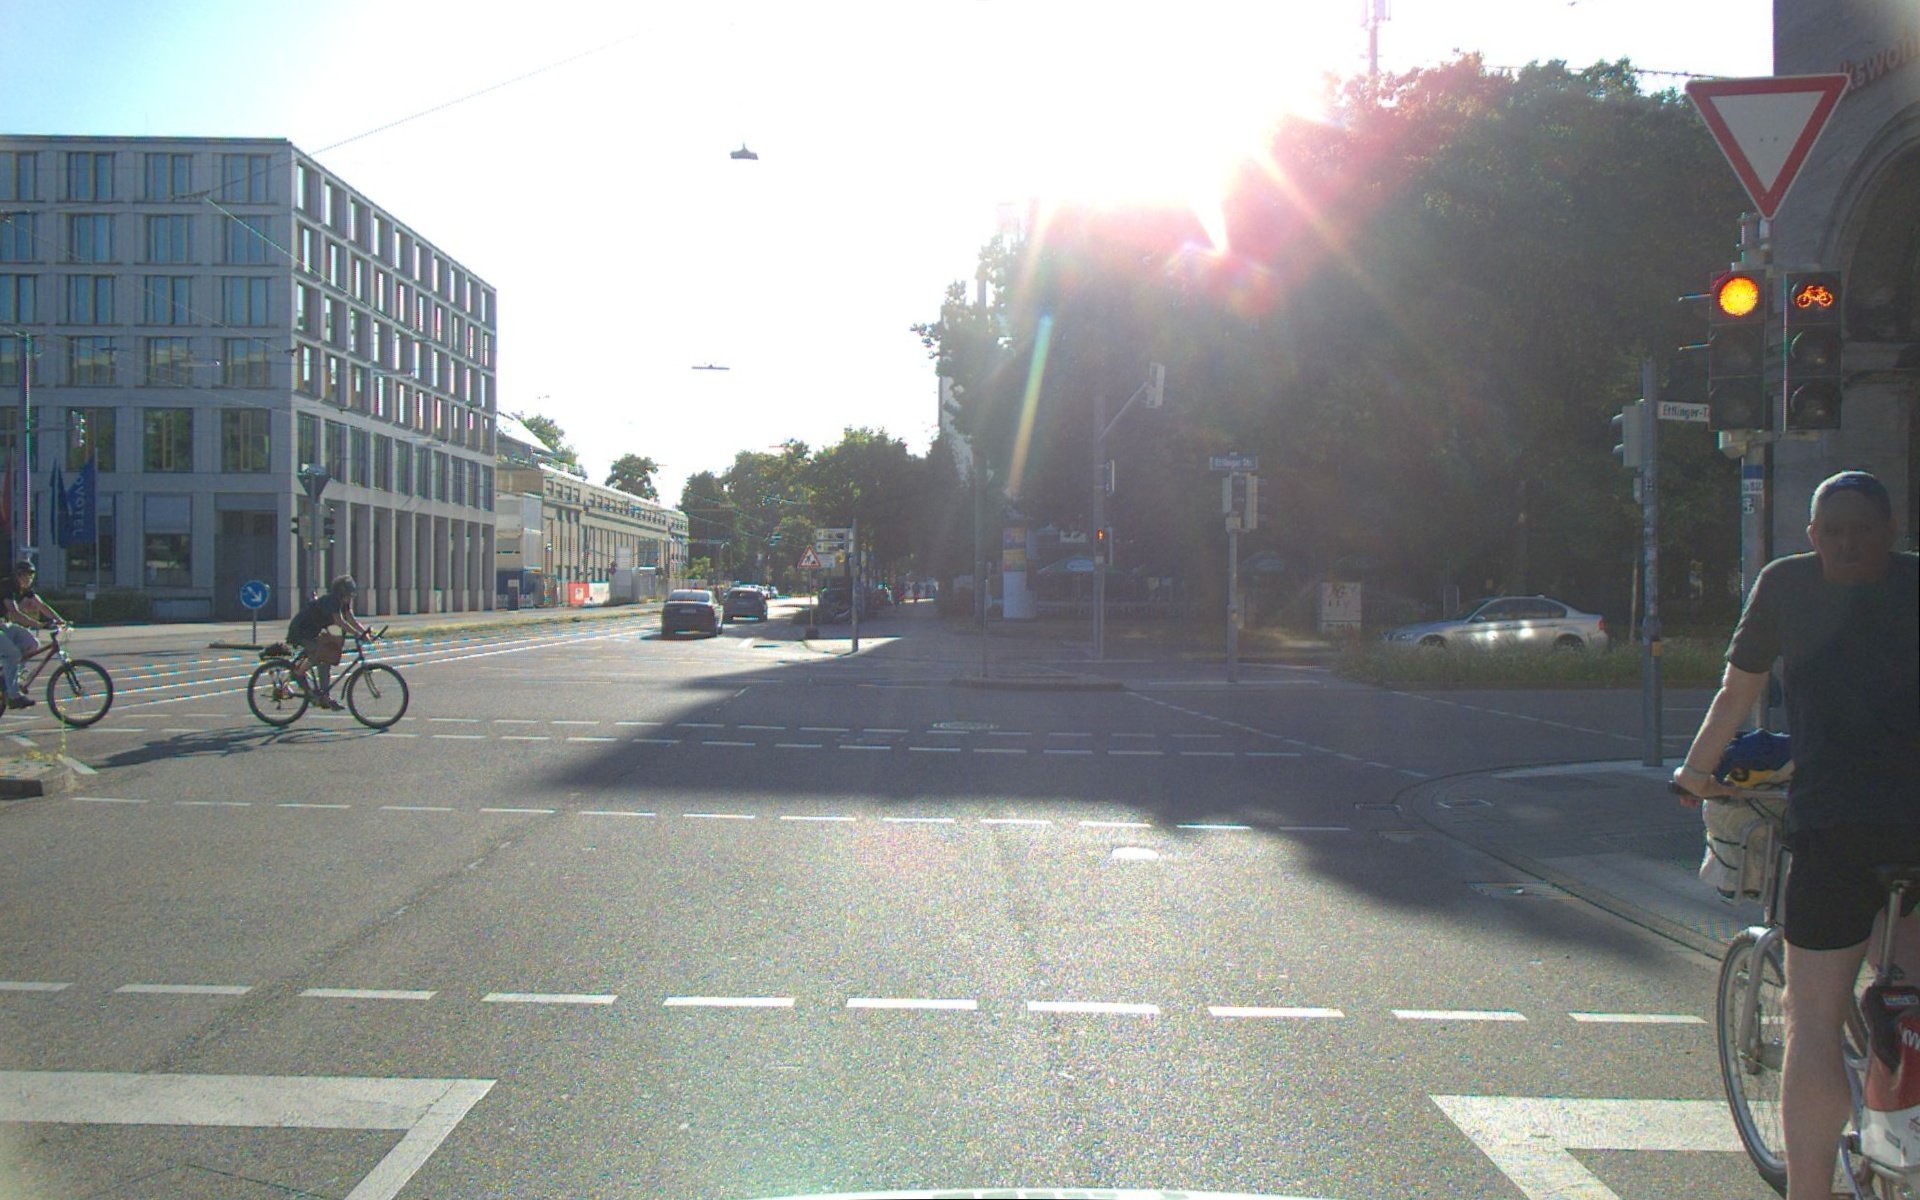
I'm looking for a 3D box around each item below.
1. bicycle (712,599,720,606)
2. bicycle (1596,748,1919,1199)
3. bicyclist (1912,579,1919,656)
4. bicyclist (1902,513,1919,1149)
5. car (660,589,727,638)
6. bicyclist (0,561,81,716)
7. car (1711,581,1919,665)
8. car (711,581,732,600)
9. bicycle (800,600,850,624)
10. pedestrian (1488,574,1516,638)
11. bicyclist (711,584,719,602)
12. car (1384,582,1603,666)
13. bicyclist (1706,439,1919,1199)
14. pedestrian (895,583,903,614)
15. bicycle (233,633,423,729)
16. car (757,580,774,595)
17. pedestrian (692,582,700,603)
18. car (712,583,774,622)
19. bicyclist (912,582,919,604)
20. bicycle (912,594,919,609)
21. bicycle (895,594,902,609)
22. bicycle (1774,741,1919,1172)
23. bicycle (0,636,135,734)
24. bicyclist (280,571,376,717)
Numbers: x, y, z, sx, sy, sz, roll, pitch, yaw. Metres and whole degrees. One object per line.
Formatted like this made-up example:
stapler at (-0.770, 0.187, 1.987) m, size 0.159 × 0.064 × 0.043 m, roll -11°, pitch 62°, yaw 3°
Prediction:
bicycle at (-18.916, 0.173, 128.341) m, size 0.491 × 0.524 × 1.257 m, roll 1°, pitch 0°, yaw -2°
bicycle at (2.075, 0.982, 3.905) m, size 0.505 × 1.096 × 1.728 m, roll 1°, pitch 0°, yaw 1°
bicyclist at (21.729, 0.381, 36.976) m, size 0.630 × 1.712 × 0.507 m, roll 0°, pitch 0°, yaw 5°
bicyclist at (2.887, 0.629, 4.245) m, size 0.546 × 1.721 × 0.640 m, roll 1°, pitch 0°, yaw -2°
car at (-8.579, 0.416, 53.551) m, size 1.627 × 1.481 × 4.430 m, roll 1°, pitch 0°, yaw -3°
bicyclist at (-9.473, 0.385, 16.824) m, size 0.748 × 1.550 × 0.606 m, roll 0°, pitch 0°, yaw -5°
car at (17.490, 0.441, 33.566) m, size 3.770 × 1.639 × 1.650 m, roll 0°, pitch 0°, yaw -1°
car at (-22.490, -0.898, 156.124) m, size 1.659 × 1.748 × 4.244 m, roll 1°, pitch 0°, yaw -4°
bicycle at (-5.493, 0.507, 67.397) m, size 1.976 × 0.907 × 0.650 m, roll -2°, pitch -1°, yaw 27°
pedestrian at (14.518, 0.159, 44.312) m, size 0.571 × 1.692 × 0.514 m, roll 1°, pitch 1°, yaw 1°
bicyclist at (-18.979, -0.561, 128.133) m, size 0.584 × 1.401 × 0.637 m, roll 1°, pitch -1°, yaw -2°
car at (10.771, 0.476, 33.578) m, size 3.912 × 1.639 × 1.650 m, roll 0°, pitch 0°, yaw -1°
bicyclist at (2.094, 0.580, 3.746) m, size 0.547 × 1.830 × 0.550 m, roll 1°, pitch 0°, yaw 1°
pedestrian at (-3.639, -0.076, 98.156) m, size 0.454 × 1.845 × 0.502 m, roll 0°, pitch 0°, yaw -5°
bicycle at (-6.517, 0.826, 17.111) m, size 1.709 × 0.951 × 0.645 m, roll 0°, pitch 0°, yaw -6°
car at (-22.854, -1.437, 194.373) m, size 1.659 × 1.748 × 4.244 m, roll 1°, pitch 0°, yaw -4°
pedestrian at (-25.324, -0.732, 158.769) m, size 0.660 × 2.049 × 0.751 m, roll 1°, pitch -1°, yaw -3°
car at (-9.748, 0.098, 74.686) m, size 1.853 × 1.592 × 4.810 m, roll 3°, pitch 1°, yaw 3°
bicyclist at (-3.382, -0.521, 126.157) m, size 0.558 × 1.721 × 0.699 m, roll 0°, pitch 0°, yaw -1°
bicycle at (-3.384, 0.116, 126.151) m, size 0.563 × 1.096 × 1.830 m, roll 0°, pitch 0°, yaw -1°
bicycle at (-4.676, 0.094, 125.989) m, size 0.563 × 1.096 × 1.830 m, roll 0°, pitch 0°, yaw -1°
bicycle at (2.863, 1.001, 4.352) m, size 0.523 × 1.096 × 1.750 m, roll 1°, pitch 0°, yaw -2°
bicycle at (-9.443, 0.855, 16.800) m, size 1.821 × 0.951 × 0.559 m, roll 0°, pitch 0°, yaw -6°
bicyclist at (-6.528, 0.447, 17.118) m, size 0.783 × 1.476 × 0.617 m, roll 0°, pitch 0°, yaw -6°
